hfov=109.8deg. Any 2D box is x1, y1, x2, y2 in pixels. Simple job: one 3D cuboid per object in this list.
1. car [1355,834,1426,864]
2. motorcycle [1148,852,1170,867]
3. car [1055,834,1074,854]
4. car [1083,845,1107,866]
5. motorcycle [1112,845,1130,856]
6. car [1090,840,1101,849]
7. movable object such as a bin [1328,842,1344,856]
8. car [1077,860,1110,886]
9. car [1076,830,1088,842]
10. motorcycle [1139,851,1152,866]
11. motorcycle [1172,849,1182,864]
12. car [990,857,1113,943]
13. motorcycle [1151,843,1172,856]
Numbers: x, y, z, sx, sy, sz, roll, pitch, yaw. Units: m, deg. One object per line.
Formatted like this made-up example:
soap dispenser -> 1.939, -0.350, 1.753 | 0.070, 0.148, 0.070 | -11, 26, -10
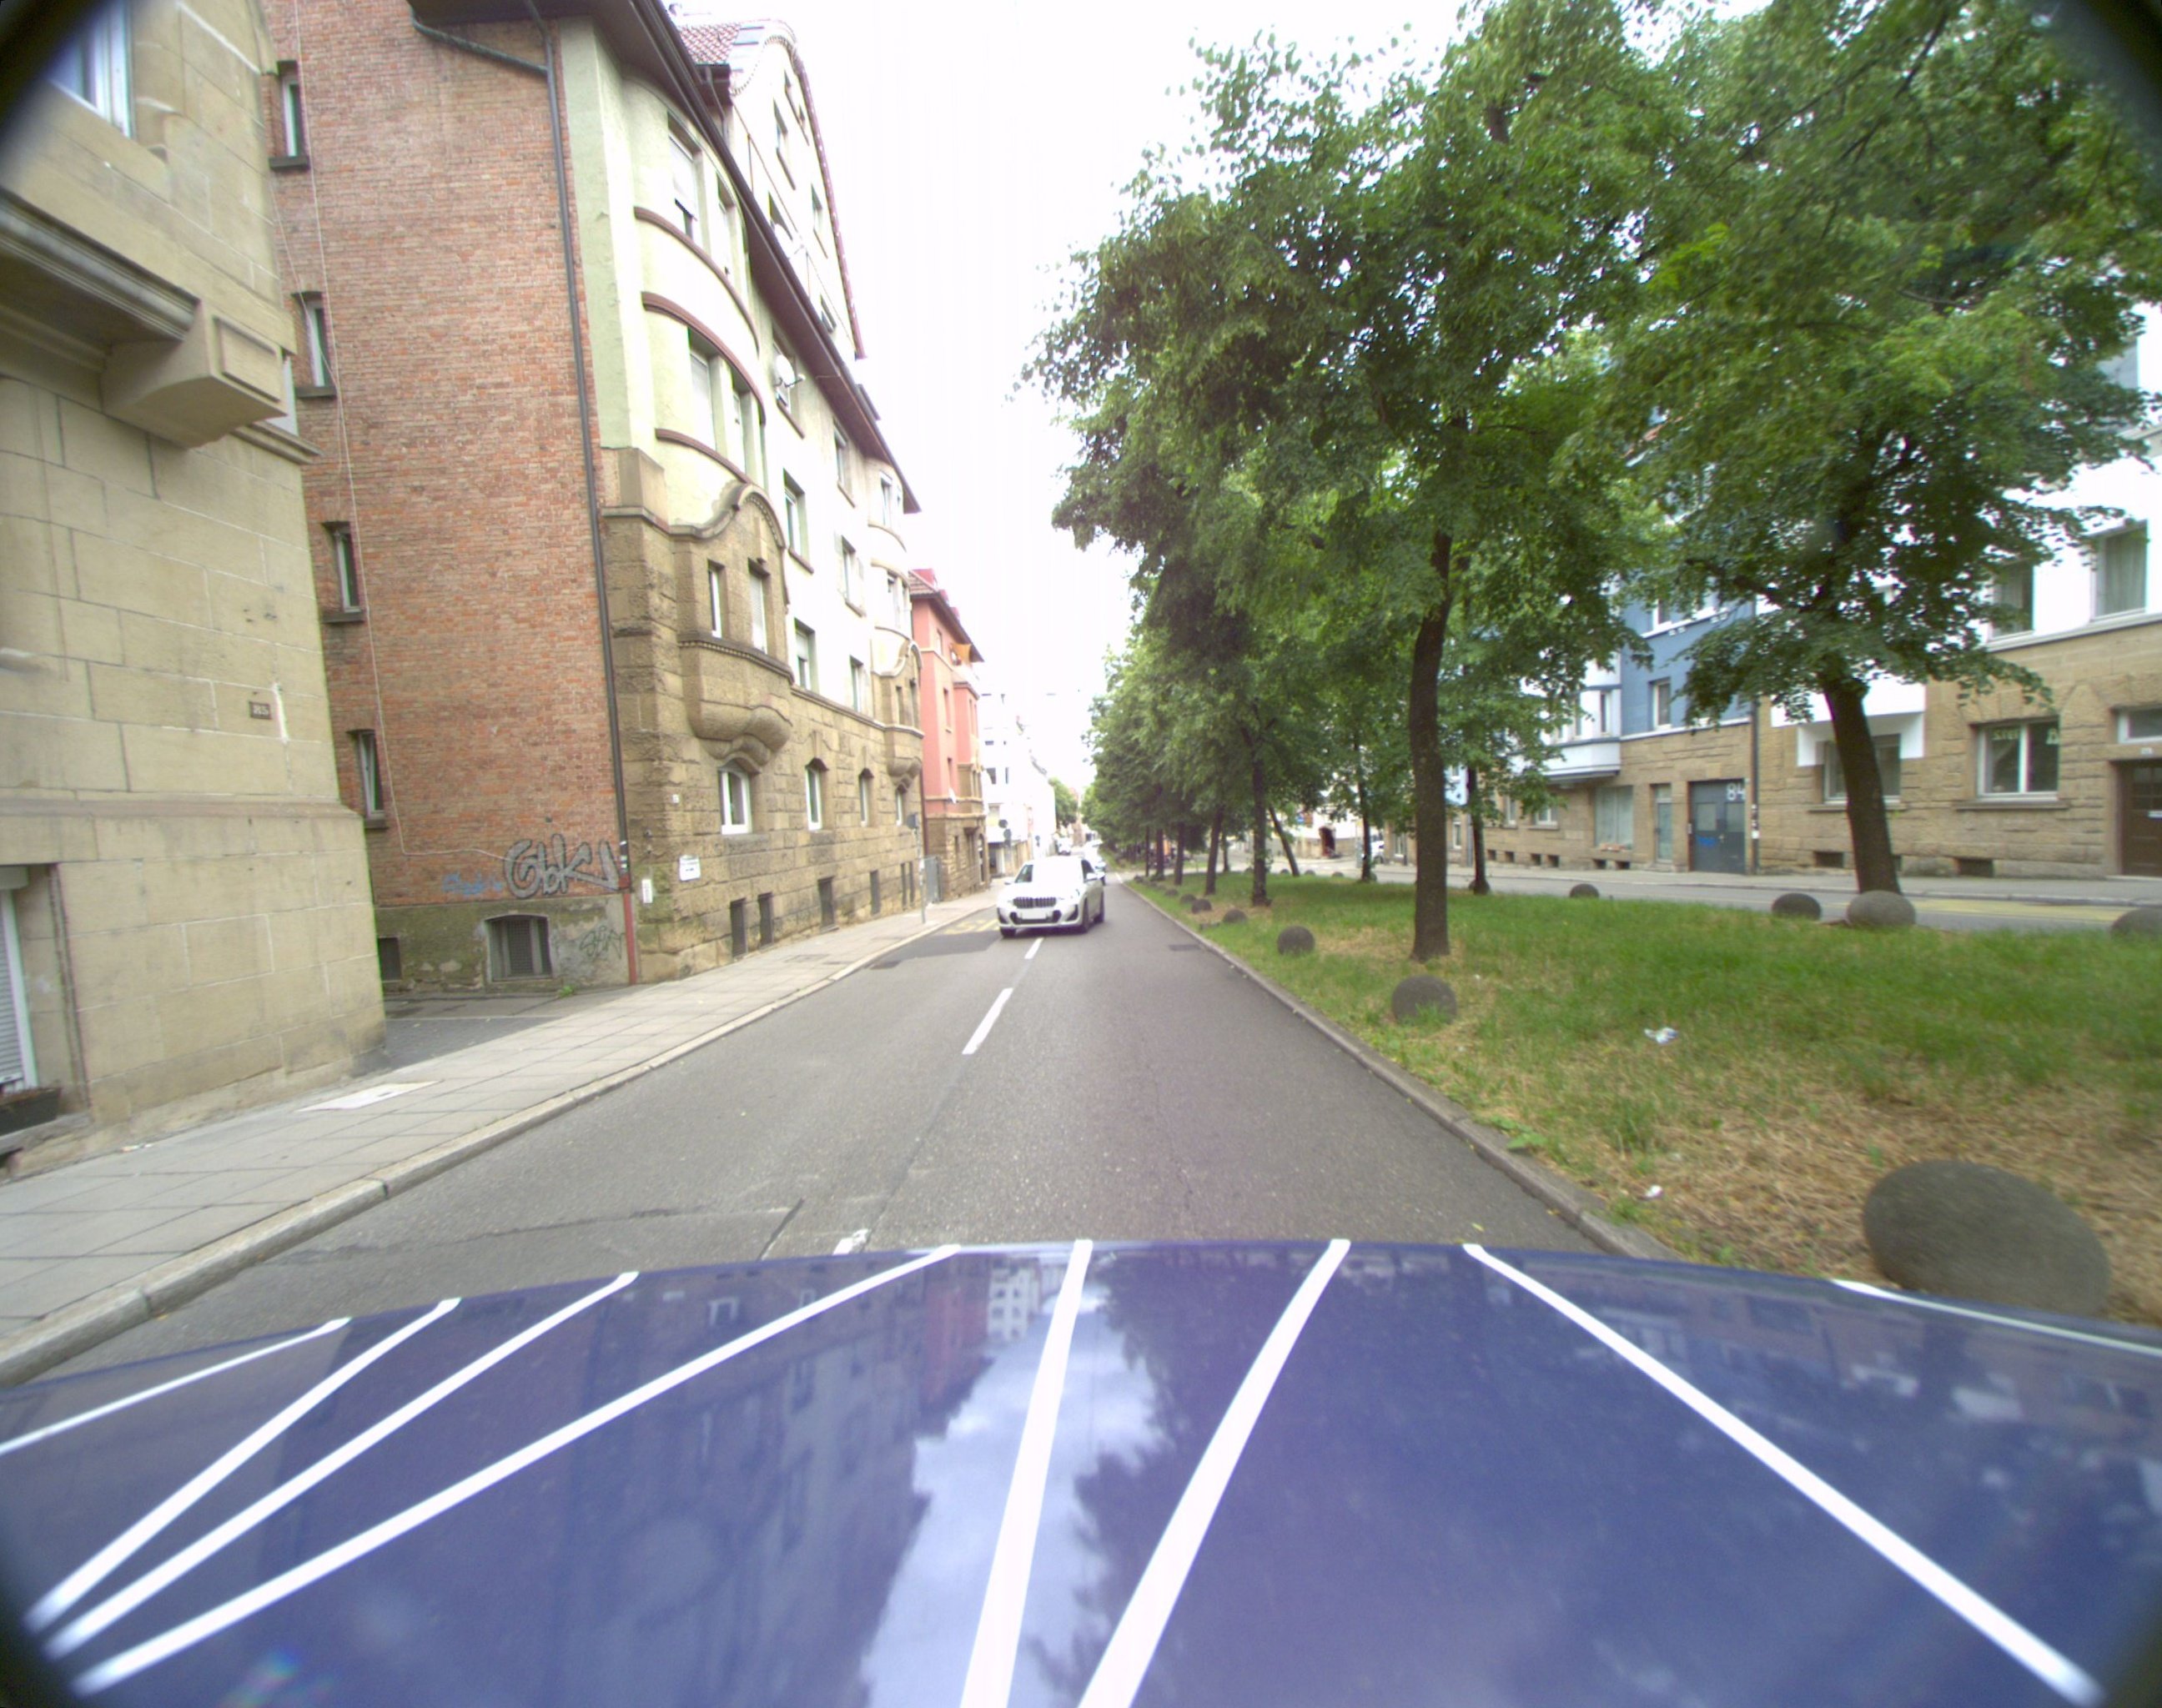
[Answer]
car -> 21.405, -0.380, 52.654 | 4.007, 1.462, 1.870 | -7, 3, -2
motorcycle -> 6.274, 0.424, 61.323 | 1.735, 1.090, 0.551 | -3, 4, 5
car -> -2.699, -1.747, 126.753 | 3.026, 3.045, 7.165 | -3, 2, 0
car -> 1.155, 0.126, 64.442 | 1.854, 1.616, 4.281 | -3, 0, 0
motorcycle -> 4.637, -0.367, 87.829 | 2.041, 1.126, 0.454 | -4, 4, 1
car -> 2.399, -1.568, 128.339 | 1.783, 1.420, 4.281 | -2, 0, 1
movable object such as a bin -> 20.139, -0.373, 60.008 | 0.888, 0.988, 0.668 | -5, 2, 0
car -> 0.702, 1.098, 46.003 | 1.854, 1.360, 4.281 | -3, 0, -1
car -> 0.290, -4.870, 205.467 | 3.026, 3.045, 7.165 | -3, 2, 0
motorcycle -> 5.364, 0.365, 63.035 | 0.888, 1.090, 2.481 | -3, 3, 8
motorcycle -> 8.000, 0.225, 63.136 | 0.750, 1.068, 1.851 | -3, 3, 8
car -> -0.509, 0.931, 17.366 | 1.853, 1.595, 4.566 | -3, 0, 9
motorcycle -> 9.629, -0.516, 91.070 | 2.424, 1.475, 0.963 | -2, 4, 1
